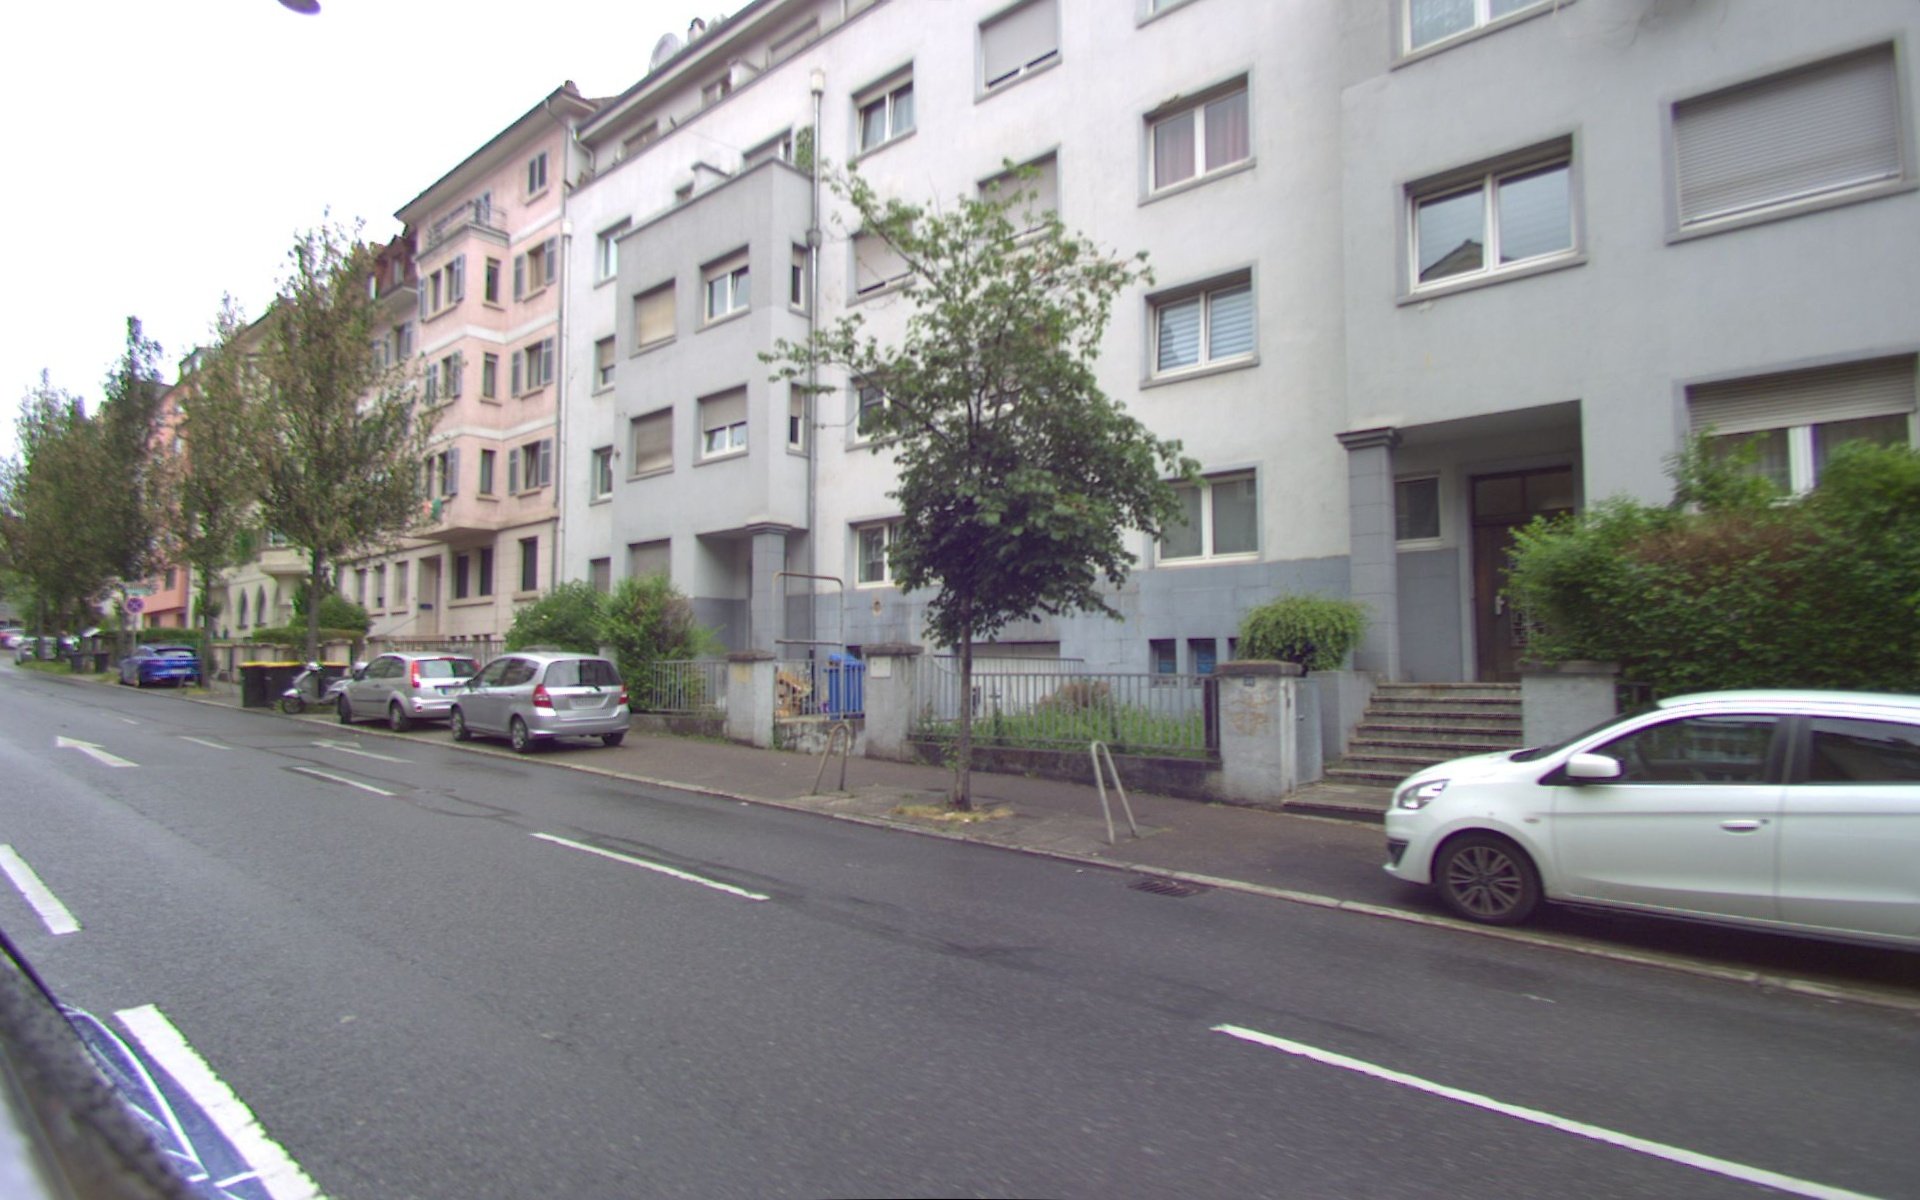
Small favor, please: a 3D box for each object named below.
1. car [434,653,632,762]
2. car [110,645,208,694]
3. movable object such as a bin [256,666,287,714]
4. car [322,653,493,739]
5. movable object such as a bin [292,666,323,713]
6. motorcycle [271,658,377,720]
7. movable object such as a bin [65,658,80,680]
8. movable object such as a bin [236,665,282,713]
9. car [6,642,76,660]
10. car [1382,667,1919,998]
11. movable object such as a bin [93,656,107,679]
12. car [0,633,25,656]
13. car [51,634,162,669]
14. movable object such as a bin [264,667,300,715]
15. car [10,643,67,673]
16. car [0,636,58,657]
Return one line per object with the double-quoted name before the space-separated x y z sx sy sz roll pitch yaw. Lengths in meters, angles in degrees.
"car" -7.058 1.658 16.553 3.889 1.462 1.582 -1 -3 45
"car" -26.556 2.271 33.499 4.600 1.396 1.661 -1 -3 41
"movable object such as a bin" -16.307 2.127 23.977 0.482 1.066 0.467 -1 -1 32
"car" -10.795 1.786 19.687 3.884 1.407 1.584 -1 -3 40
"movable object such as a bin" -15.537 2.123 24.104 0.482 1.066 0.467 -1 -1 32
"motorcycle" -14.062 1.957 22.425 1.782 1.325 0.743 2 -4 -8
"movable object such as a bin" -36.329 2.820 41.416 0.572 0.896 0.360 -2 -2 40
"movable object such as a bin" -16.816 2.131 24.285 0.483 1.066 0.816 -1 -1 42
"car" -72.643 4.067 80.030 1.646 1.307 3.878 -1 -4 41
"car" 4.730 1.233 6.039 3.793 1.519 1.629 -1 -3 39
"movable object such as a bin" -35.858 2.817 42.196 0.572 0.918 0.360 -1 -2 40
"car" -83.596 3.807 87.422 1.865 1.861 3.881 -1 -4 38
"car" -49.851 2.999 59.206 1.917 1.919 4.672 -1 -2 39
"movable object such as a bin" -15.757 2.108 23.533 0.480 1.066 0.522 0 0 19
"car" -47.967 3.008 52.655 4.135 1.428 1.663 -1 -5 41
"car" -80.208 3.979 86.855 1.592 1.634 3.878 -1 -4 41
